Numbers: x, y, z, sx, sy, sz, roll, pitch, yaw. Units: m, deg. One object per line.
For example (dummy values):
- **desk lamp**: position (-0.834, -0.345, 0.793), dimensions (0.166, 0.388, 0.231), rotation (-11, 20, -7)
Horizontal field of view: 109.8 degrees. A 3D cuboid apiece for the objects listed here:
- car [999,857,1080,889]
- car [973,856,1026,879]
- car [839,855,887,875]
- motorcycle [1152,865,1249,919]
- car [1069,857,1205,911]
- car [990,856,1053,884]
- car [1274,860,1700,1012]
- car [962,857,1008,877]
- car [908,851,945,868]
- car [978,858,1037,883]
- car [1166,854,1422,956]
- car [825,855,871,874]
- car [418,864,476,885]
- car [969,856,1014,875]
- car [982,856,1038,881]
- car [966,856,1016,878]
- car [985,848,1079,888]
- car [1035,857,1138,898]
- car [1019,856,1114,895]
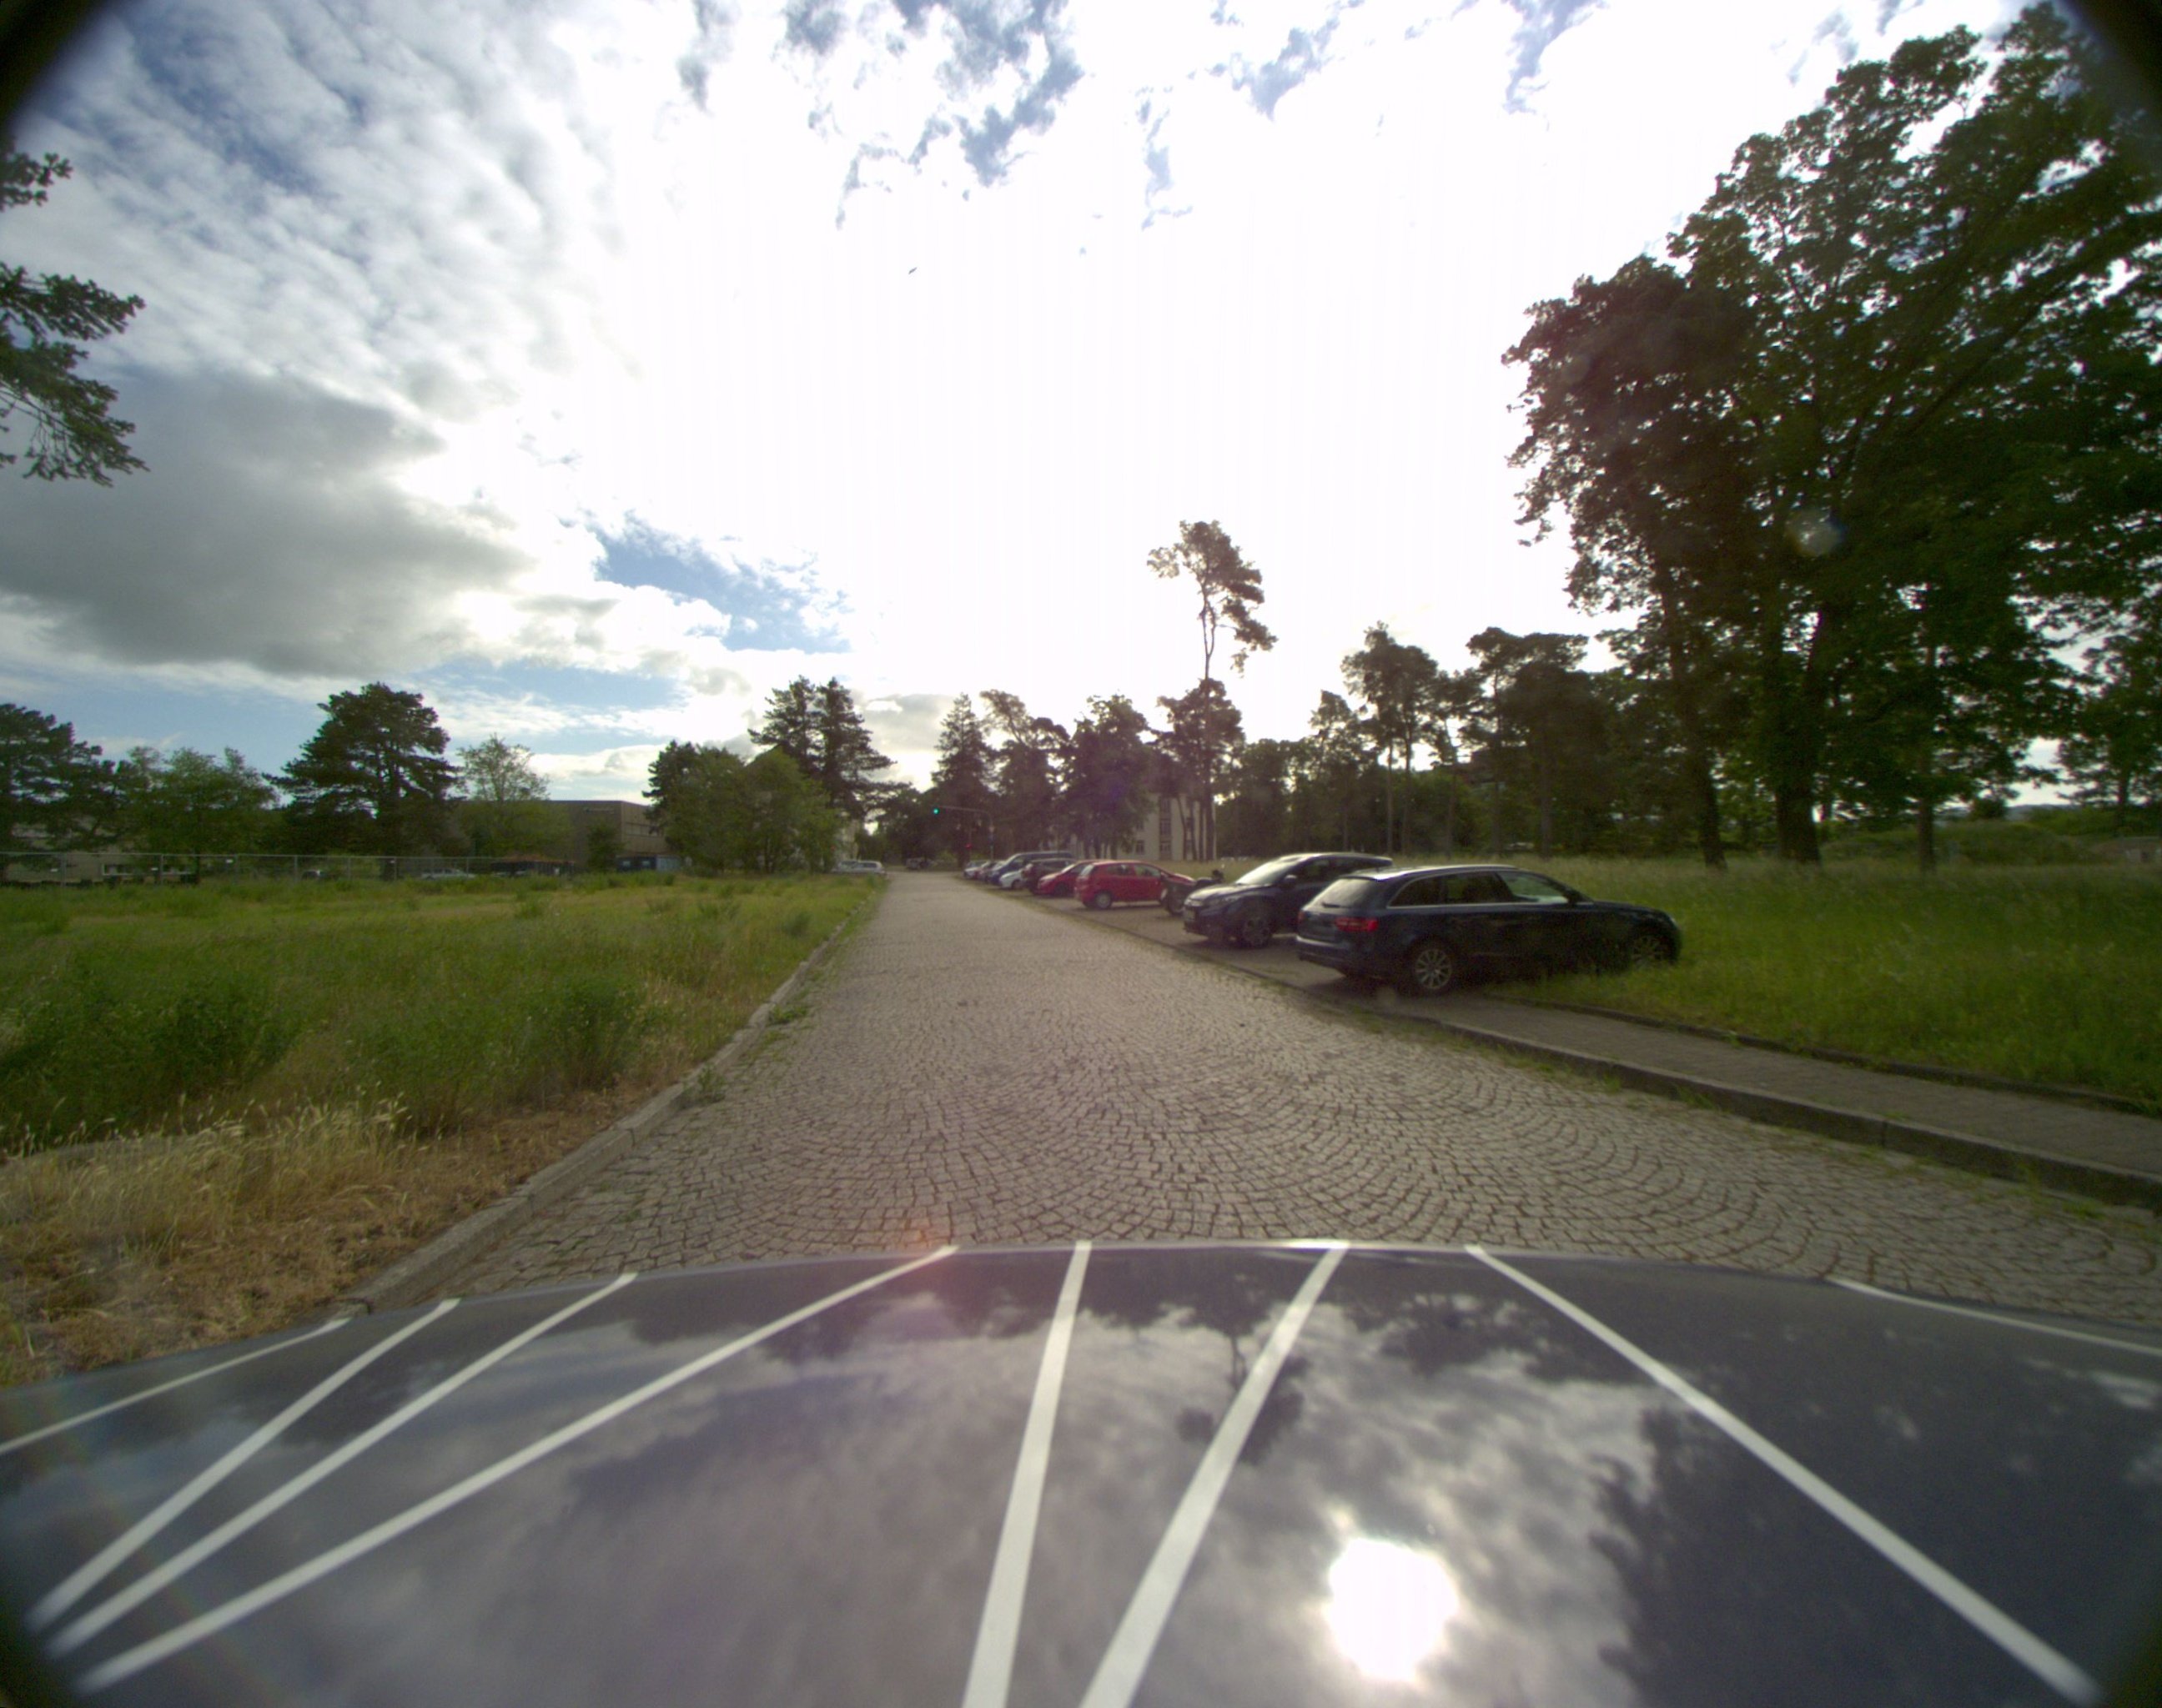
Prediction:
- **car**: position (-2.216, 0.987, 40.208), dimensions (3.934, 1.385, 1.740), rotation (-4, 2, -15)
- **car**: position (-6.054, 0.980, 56.320), dimensions (3.576, 1.408, 1.635), rotation (-4, 2, -20)
- **car**: position (-17.949, 0.896, 62.549), dimensions (3.734, 1.430, 1.624), rotation (-3, 2, -17)
- **motorcycle**: position (3.095, 0.971, 19.781), dimensions (2.364, 1.280, 0.743), rotation (-1, 0, -13)
- **car**: position (1.729, 0.900, 23.923), dimensions (3.898, 1.470, 1.670), rotation (-2, 0, -14)
- **car**: position (-3.773, 0.987, 48.320), dimensions (3.603, 1.446, 1.685), rotation (-4, 2, -20)
- **car**: position (4.810, 0.881, 9.232), dimensions (4.446, 1.471, 1.681), rotation (-2, 0, -10)
- **car**: position (-8.006, 1.066, 63.211), dimensions (3.575, 1.450, 1.624), rotation (-4, 2, -16)
- **car**: position (-26.466, 0.931, 130.357), dimensions (5.803, 2.548, 2.765), rotation (-4, 2, -18)
- **car**: position (-4.909, 1.095, 50.616), dimensions (3.603, 1.413, 1.615), rotation (-3, 2, -20)
- **car**: position (3.833, 0.846, 13.886), dimensions (4.153, 1.564, 1.787), rotation (-1, 1, -14)
- **car**: position (-20.692, 0.924, 67.443), dimensions (3.735, 1.430, 1.623), rotation (-3, 2, -21)
- **car**: position (-58.829, 1.881, 70.555), dimensions (1.995, 1.892, 3.779), rotation (-2, -2, 36)
- **car**: position (-7.813, 0.967, 66.164), dimensions (3.458, 1.424, 1.625), rotation (-4, 2, -23)
- **car**: position (-5.033, 1.000, 53.667), dimensions (3.576, 1.426, 1.603), rotation (-4, 2, -20)
- **car**: position (-7.147, 1.043, 60.400), dimensions (3.576, 1.479, 1.600), rotation (-4, 2, -21)
- **car**: position (-2.778, 0.770, 42.714), dimensions (4.838, 1.855, 2.158), rotation (-4, 2, -15)
- **car**: position (0.205, 0.952, 31.447), dimensions (3.955, 1.511, 1.705), rotation (-1, 0, -13)
- **car**: position (-0.662, 0.936, 34.018), dimensions (3.921, 1.594, 1.818), rotation (-1, 0, -16)
